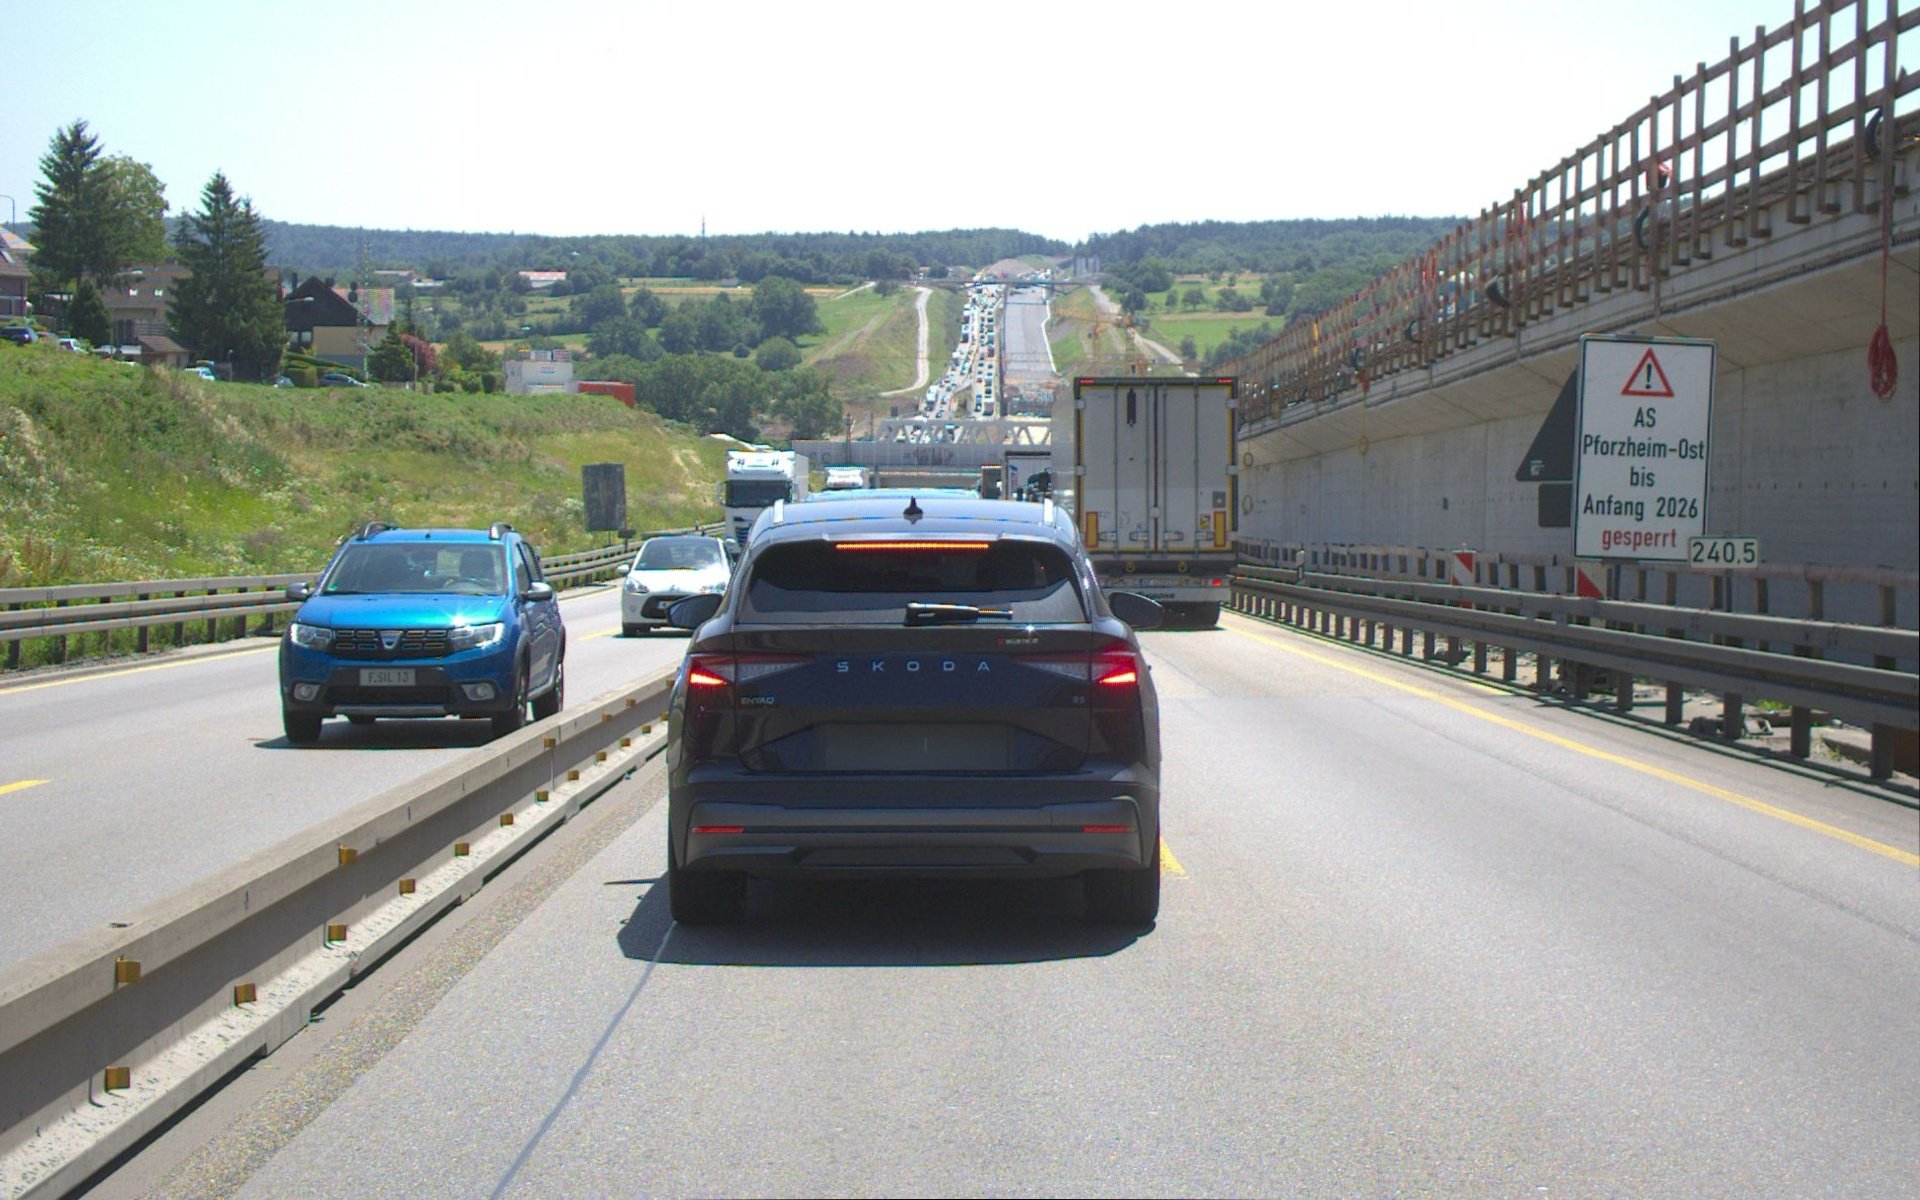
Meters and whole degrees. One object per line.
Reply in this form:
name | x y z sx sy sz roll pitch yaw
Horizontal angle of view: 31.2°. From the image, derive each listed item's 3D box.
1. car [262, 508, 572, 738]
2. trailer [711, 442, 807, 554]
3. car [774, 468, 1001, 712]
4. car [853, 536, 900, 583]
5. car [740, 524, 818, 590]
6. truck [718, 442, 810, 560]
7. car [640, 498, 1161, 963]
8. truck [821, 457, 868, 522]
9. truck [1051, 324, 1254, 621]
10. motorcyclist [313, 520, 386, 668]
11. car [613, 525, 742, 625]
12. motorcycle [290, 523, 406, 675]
car | -4.018 0.122 25.993 1.763 1.604 3.892 0 1 0
trailer | -7.905 -3.918 133.824 3.220 4.144 13.411 0 1 -5
car | -0.666 -0.107 29.582 1.749 1.889 3.756 3 1 -2
car | -3.343 -1.646 137.947 1.775 1.814 4.434 0 1 0
car | -4.116 -0.995 78.563 1.691 1.481 3.750 0 1 -2
truck | -7.345 -3.641 128.025 3.180 4.223 6.486 0 0 -5
car | -0.246 0.420 13.680 1.782 1.592 3.755 0 1 -1
truck | -7.675 -7.305 228.640 2.753 4.212 8.100 1 1 0
truck | 3.162 -2.033 59.738 2.846 4.599 11.811 1 0 0
motorcyclist | -6.604 -0.065 37.215 0.665 1.579 0.736 0 0 0
car | -4.323 -0.406 53.036 1.766 1.481 3.866 0 1 -2
motorcycle | -6.582 -0.043 37.099 0.790 1.546 2.621 1 2 0
